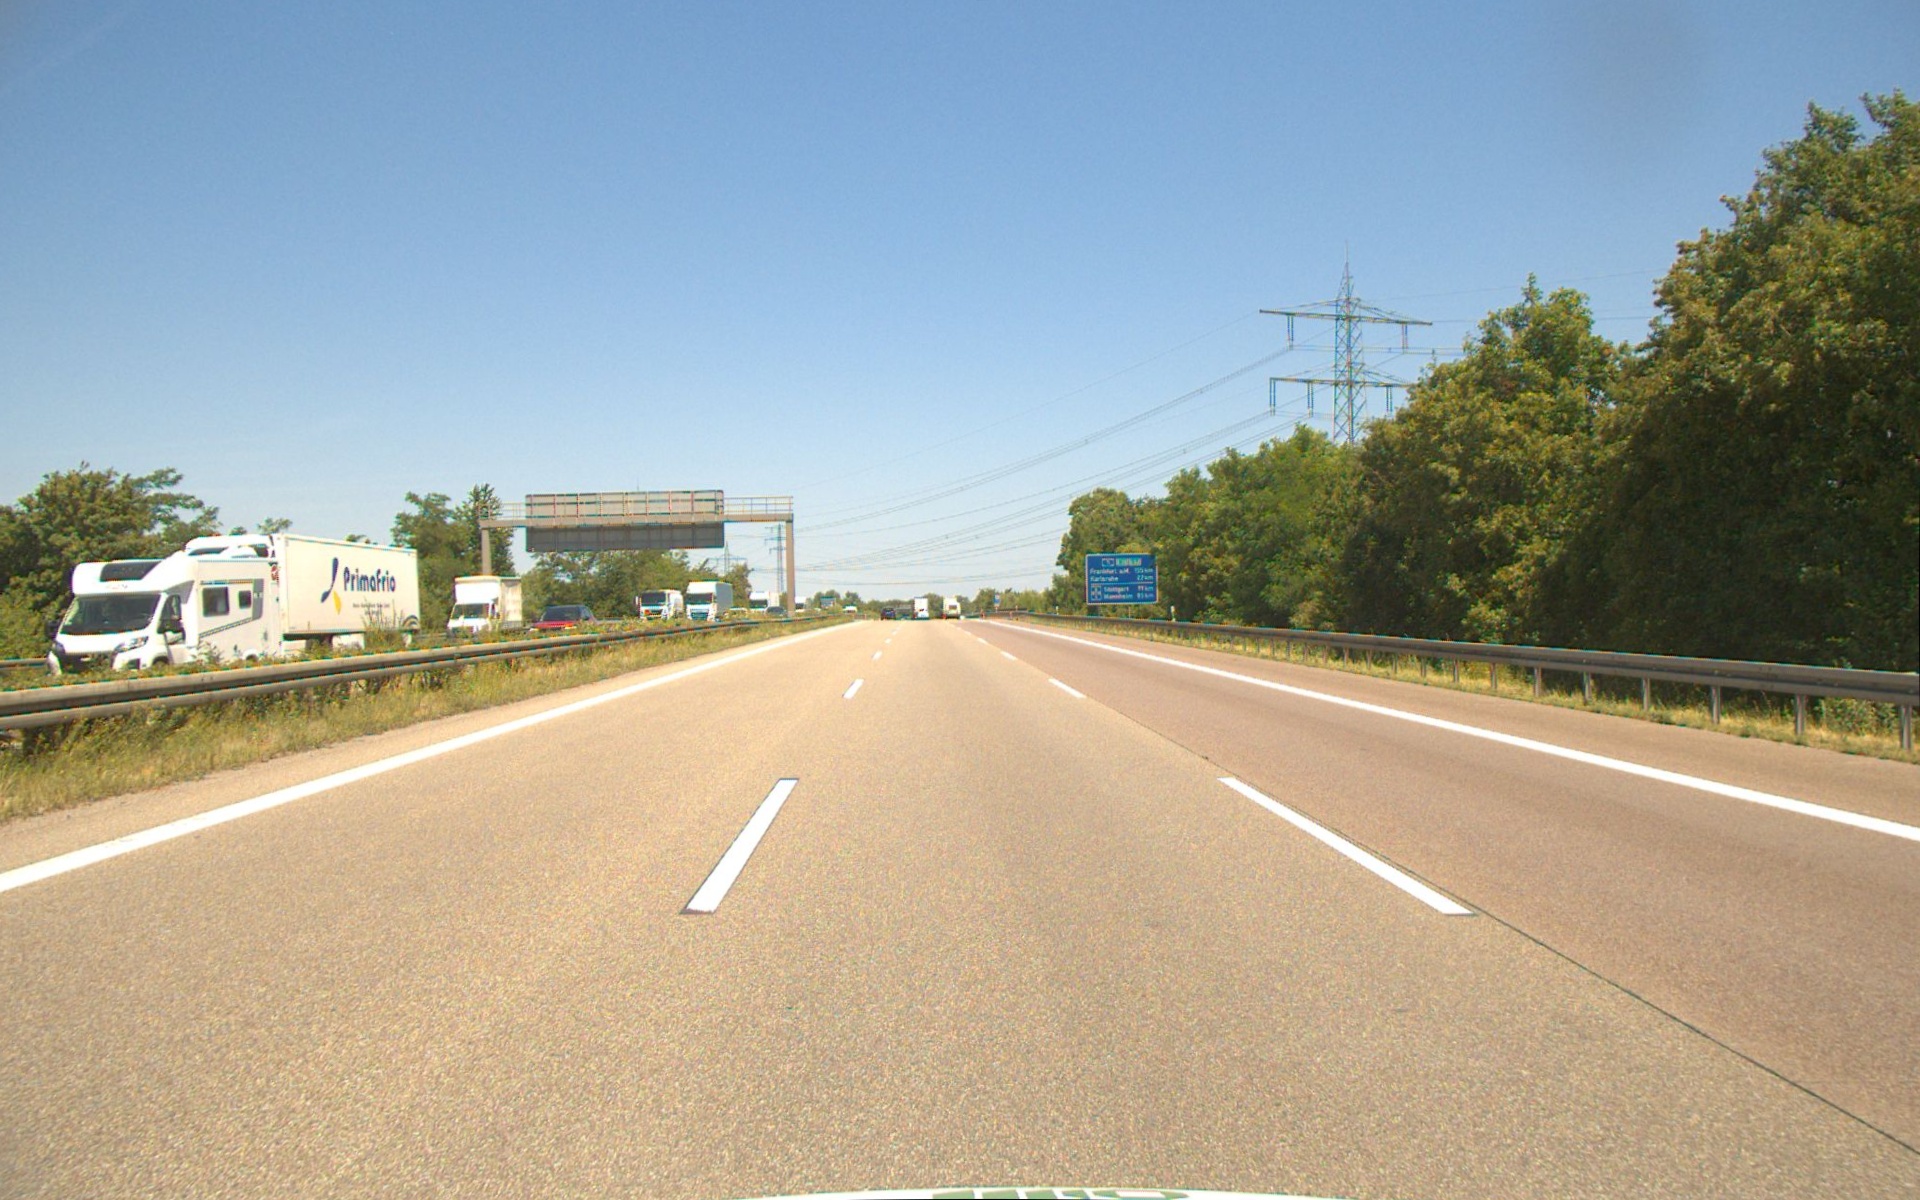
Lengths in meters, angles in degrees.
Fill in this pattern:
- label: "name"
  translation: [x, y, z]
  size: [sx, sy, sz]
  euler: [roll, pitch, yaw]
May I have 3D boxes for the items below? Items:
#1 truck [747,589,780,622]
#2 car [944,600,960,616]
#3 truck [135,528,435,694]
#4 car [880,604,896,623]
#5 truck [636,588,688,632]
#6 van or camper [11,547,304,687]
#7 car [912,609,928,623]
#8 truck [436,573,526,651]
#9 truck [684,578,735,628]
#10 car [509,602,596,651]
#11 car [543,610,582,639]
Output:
- label: "truck"
  translation: [-26.053, 0.759, 220.324]
  size: [2.901, 4.162, 17.020]
  euler: [-1, 0, -2]
- label: "car"
  translation: [-0.997, 1.016, 210.593]
  size: [1.953, 2.049, 3.998]
  euler: [-1, 0, -2]
- label: "truck"
  translation: [-21.752, 0.308, 55.214]
  size: [3.152, 4.453, 17.186]
  euler: [-4, 0, -2]
- label: "car"
  translation: [-8.045, 1.521, 185.428]
  size: [1.755, 2.049, 3.886]
  euler: [0, 0, -1]
- label: "truck"
  translation: [-23.374, 0.766, 130.282]
  size: [2.657, 3.264, 8.922]
  euler: [-1, 0, -2]
- label: "van or camper"
  translation: [-16.831, 0.311, 35.394]
  size: [2.417, 2.604, 7.808]
  euler: [-1, 0, 0]
- label: "car"
  translation: [-5.865, 2.372, 242.772]
  size: [2.132, 1.963, 4.612]
  euler: [-1, 0, 2]
- label: "truck"
  translation: [-22.899, 0.550, 79.404]
  size: [2.321, 3.525, 7.420]
  euler: [-1, 0, -1]
- label: "truck"
  translation: [-23.740, 0.268, 157.579]
  size: [2.657, 4.466, 17.320]
  euler: [-1, 0, -1]
- label: "car"
  translation: [-13.503, 0.852, 55.007]
  size: [1.953, 1.545, 3.999]
  euler: [-1, 0, -2]
- label: "car"
  translation: [-26.870, 1.624, 111.946]
  size: [1.893, 1.847, 3.996]
  euler: [-2, 0, -4]
